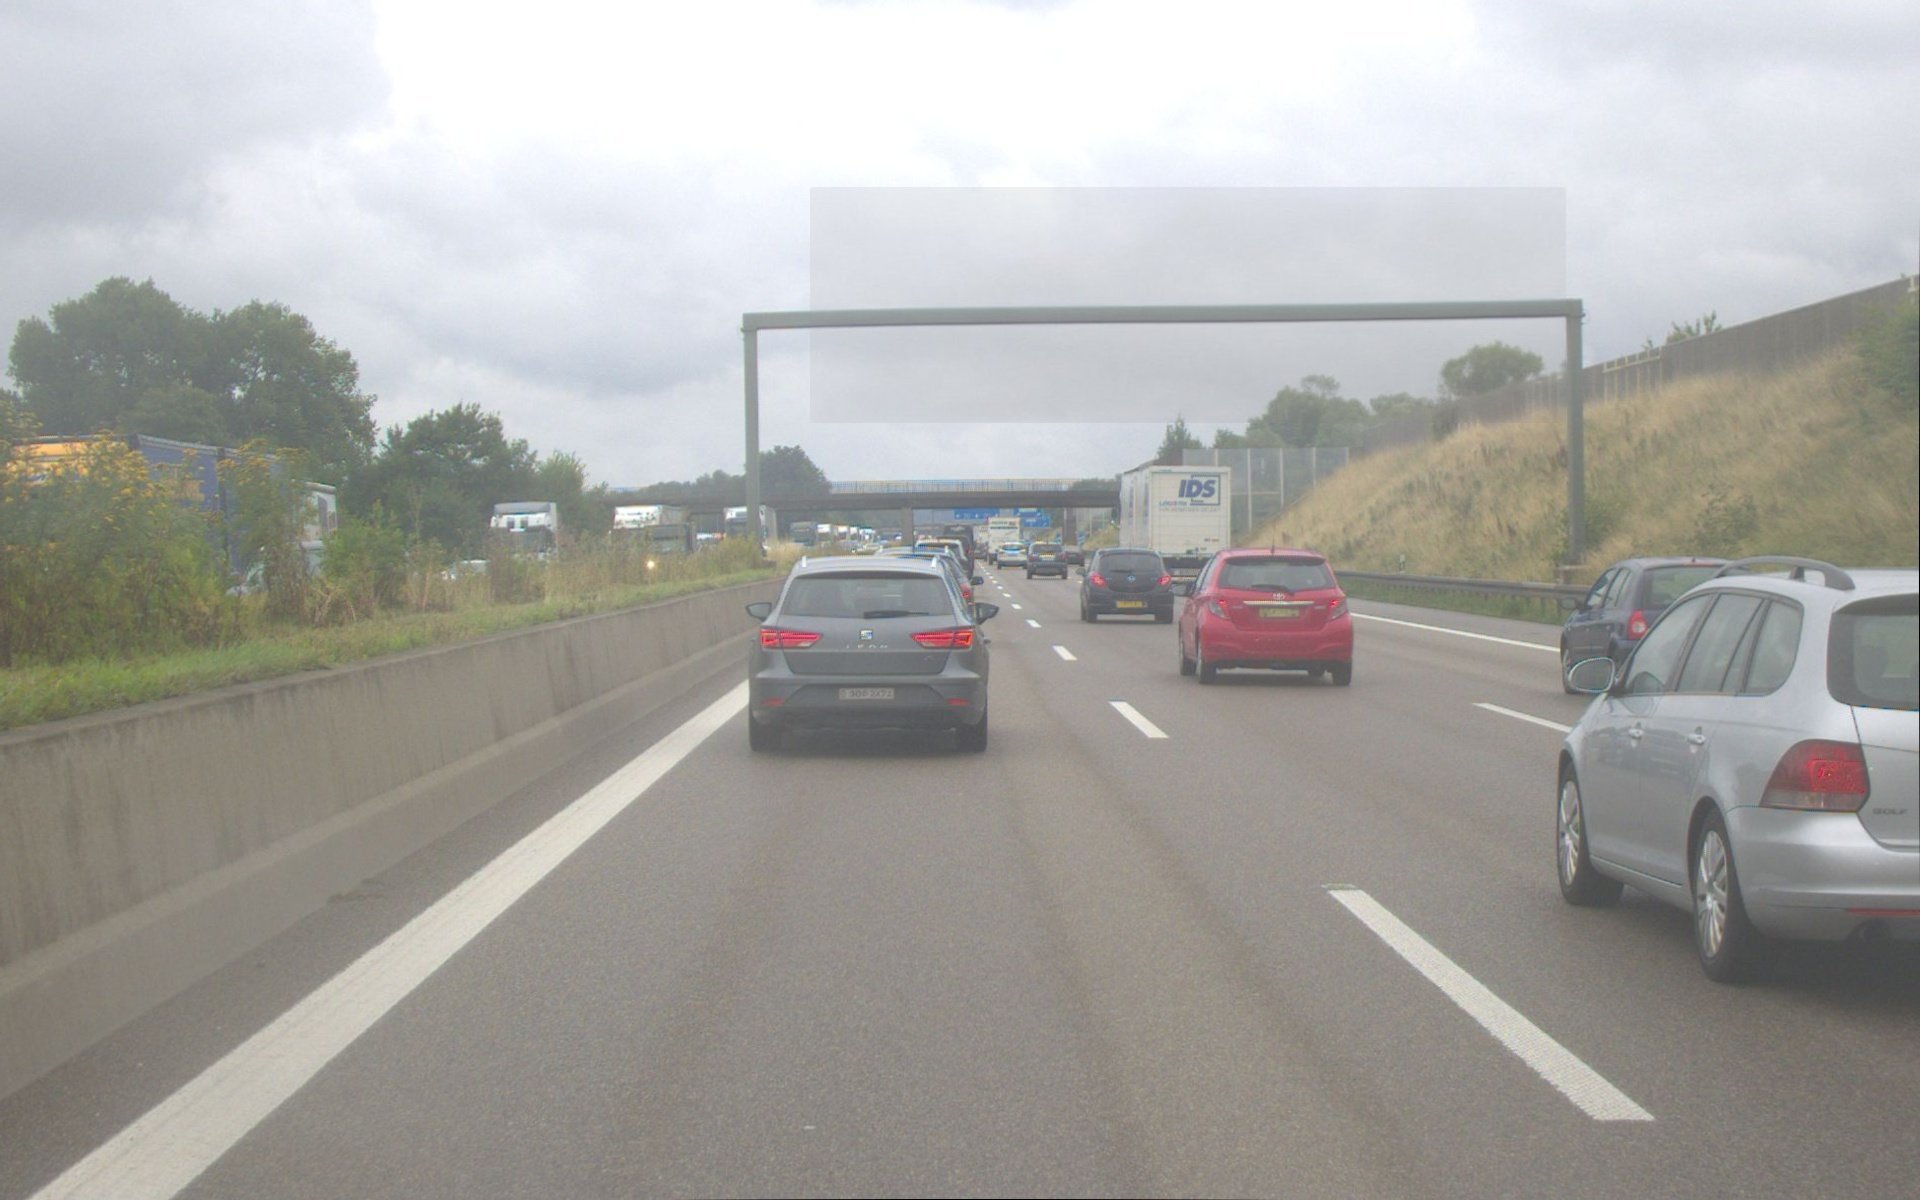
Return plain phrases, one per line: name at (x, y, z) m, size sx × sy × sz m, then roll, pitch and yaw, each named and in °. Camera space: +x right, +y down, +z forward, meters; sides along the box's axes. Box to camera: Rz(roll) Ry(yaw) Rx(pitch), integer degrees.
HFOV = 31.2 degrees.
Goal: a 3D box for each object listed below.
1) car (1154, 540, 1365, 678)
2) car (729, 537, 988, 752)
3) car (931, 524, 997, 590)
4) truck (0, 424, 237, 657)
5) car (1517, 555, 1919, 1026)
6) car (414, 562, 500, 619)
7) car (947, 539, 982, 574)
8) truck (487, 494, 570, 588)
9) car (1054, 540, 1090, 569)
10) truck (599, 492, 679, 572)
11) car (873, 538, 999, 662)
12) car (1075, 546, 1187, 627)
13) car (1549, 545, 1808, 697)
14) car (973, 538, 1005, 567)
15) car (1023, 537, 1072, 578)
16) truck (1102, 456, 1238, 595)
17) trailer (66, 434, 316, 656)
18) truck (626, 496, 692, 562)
car at (3.317, 0.055, 38.902) m, size 1.891 × 1.442 × 4.685 m, roll 0°, pitch 1°, yaw -1°
car at (-0.756, 0.289, 25.783) m, size 1.768 × 1.462 × 4.000 m, roll 1°, pitch 1°, yaw -1°
car at (0.107, -1.234, 98.175) m, size 1.704 × 1.790 × 3.855 m, roll -2°, pitch 1°, yaw -2°
truck at (-17.659, -1.191, 70.271) m, size 3.412 × 4.349 × 10.991 m, roll 1°, pitch 1°, yaw 0°
car at (3.366, 0.563, 12.934) m, size 1.742 × 1.420 × 4.517 m, roll -1°, pitch 1°, yaw -1°
car at (-15.023, -0.301, 102.926) m, size 1.882 × 1.610 × 5.015 m, roll -1°, pitch 1°, yaw -1°
car at (0.237, -2.514, 200.624) m, size 1.993 × 2.007 × 4.242 m, roll 1°, pitch 1°, yaw 0°
truck at (-17.802, -2.472, 142.034) m, size 2.641 × 3.713 × 5.872 m, roll 1°, pitch 2°, yaw 0°
car at (7.291, -2.975, 224.935) m, size 1.993 × 1.853 × 4.391 m, roll 0°, pitch 1°, yaw -3°
truck at (-17.571, -3.712, 188.766) m, size 3.615 × 4.260 × 7.591 m, roll 1°, pitch 1°, yaw 0°
car at (-0.367, -0.020, 50.762) m, size 1.754 × 1.744 × 4.000 m, roll 1°, pitch 1°, yaw -1°
car at (3.335, -0.293, 67.690) m, size 1.921 × 1.516 × 4.622 m, roll 0°, pitch 1°, yaw -1°
car at (7.041, 0.176, 34.041) m, size 1.702 × 1.396 × 3.875 m, roll 1°, pitch 1°, yaw 0°
car at (2.013, -3.359, 241.167) m, size 1.993 × 2.007 × 4.001 m, roll -1°, pitch 1°, yaw -3°
car at (3.744, -1.831, 148.184) m, size 1.845 × 1.681 × 4.000 m, roll 1°, pitch 1°, yaw -2°
truck at (6.938, -2.421, 116.567) m, size 3.283 × 4.280 × 19.034 m, roll 1°, pitch 1°, yaw 0°
trailer at (-17.709, -1.297, 80.086) m, size 3.387 × 4.752 × 11.682 m, roll 1°, pitch 1°, yaw -1°
truck at (-13.832, -3.228, 158.360) m, size 2.311 × 2.898 × 7.424 m, roll 1°, pitch 1°, yaw 0°
